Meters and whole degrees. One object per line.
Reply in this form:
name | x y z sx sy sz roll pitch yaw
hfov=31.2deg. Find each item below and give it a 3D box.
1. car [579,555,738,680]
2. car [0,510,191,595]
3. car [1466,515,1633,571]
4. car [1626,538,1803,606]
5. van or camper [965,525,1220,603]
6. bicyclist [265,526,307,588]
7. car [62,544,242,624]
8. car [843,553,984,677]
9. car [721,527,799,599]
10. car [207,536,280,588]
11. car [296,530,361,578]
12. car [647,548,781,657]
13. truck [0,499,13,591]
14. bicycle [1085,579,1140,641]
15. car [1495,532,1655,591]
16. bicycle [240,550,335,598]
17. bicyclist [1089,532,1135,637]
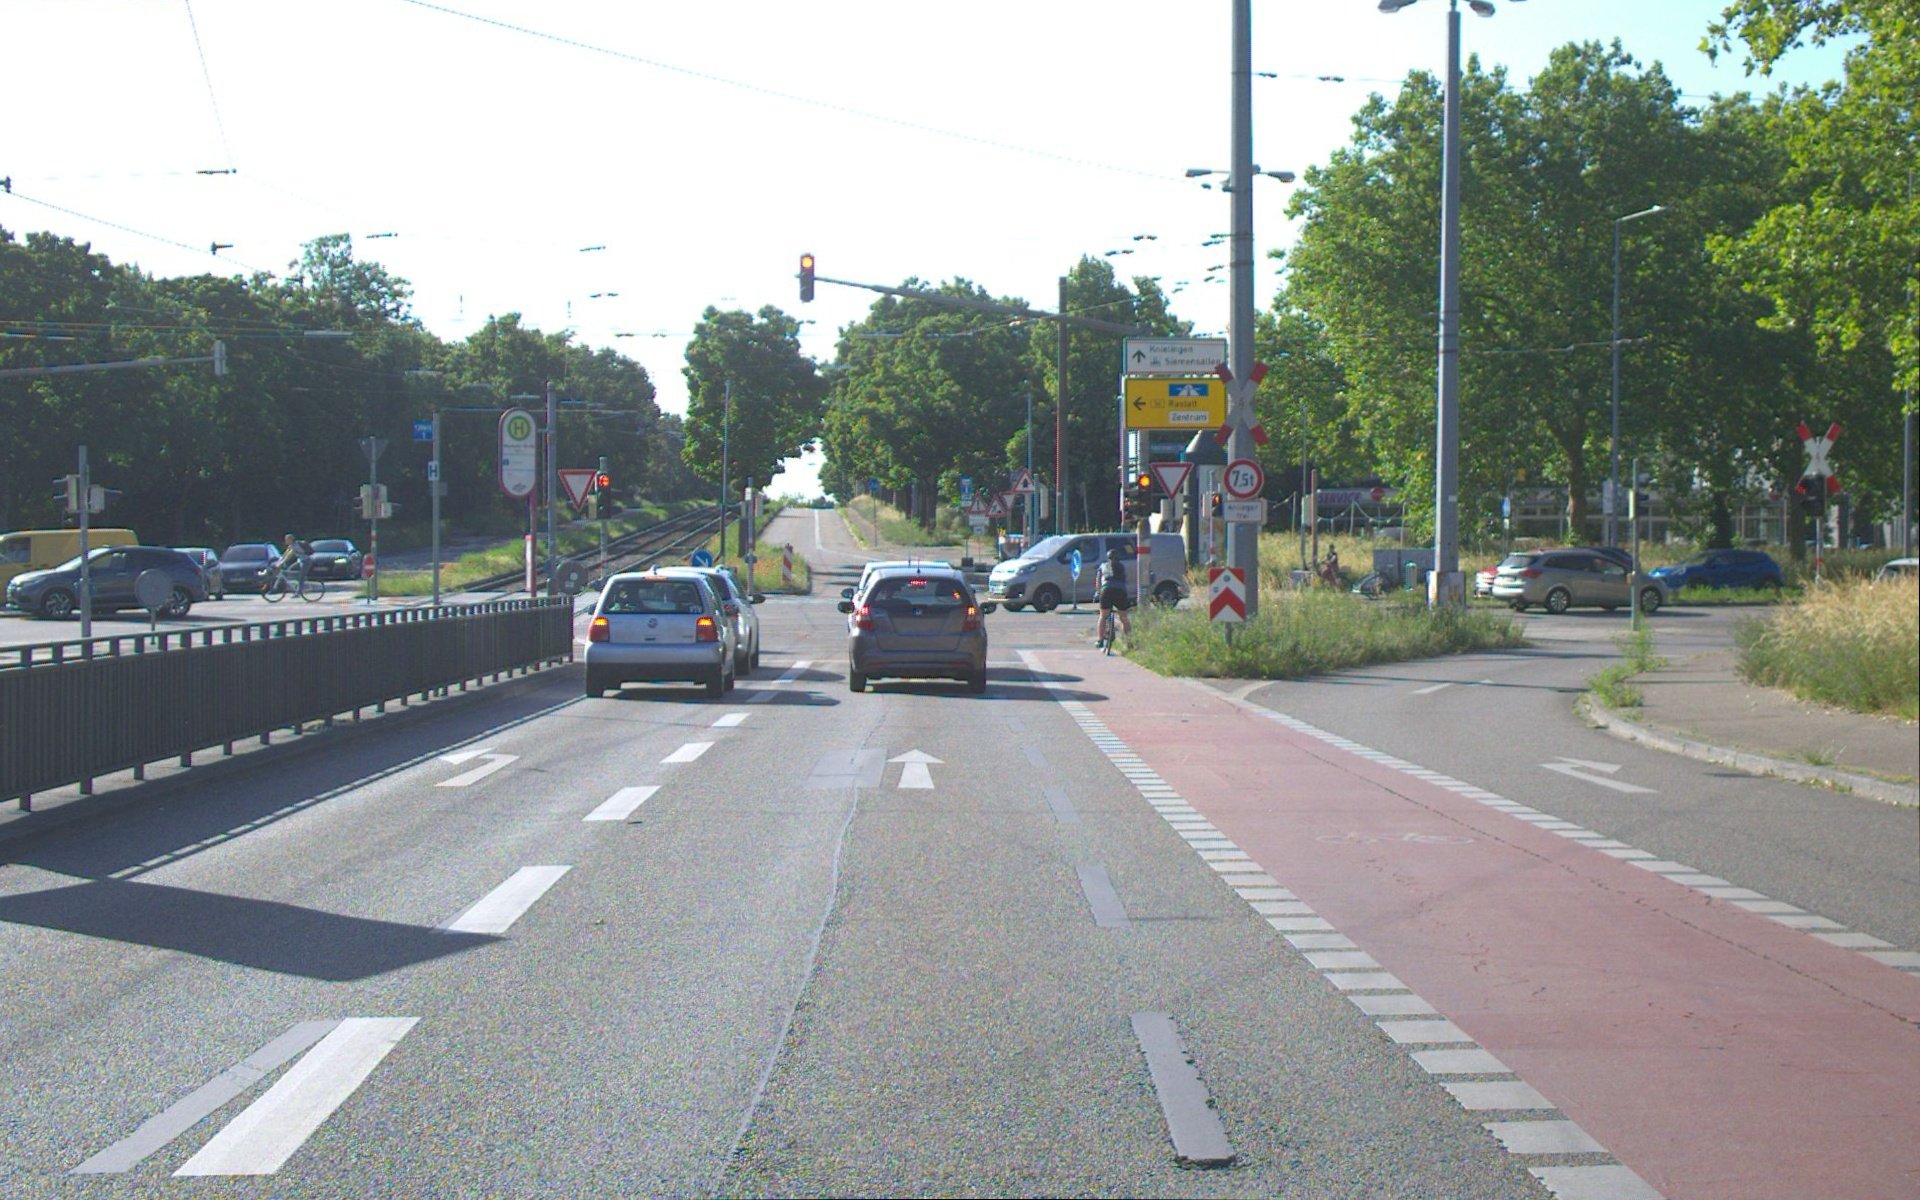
car | -3.536 0.183 40.784 1.619 1.413 3.351 -1 0 -1
car | -20.803 -1.108 80.308 5.154 1.873 2.000 1 0 -27
car | 15.213 -1.479 88.713 4.002 1.398 1.610 -1 1 -23
car | 21.989 -0.810 100.234 4.686 1.873 2.001 1 0 -23
van or camper | 3.221 -0.894 83.294 5.967 1.822 2.000 -1 2 -27
bicyclist | -17.970 -1.146 91.666 1.006 1.642 0.817 0 1 -18
car | -18.152 -0.369 77.224 3.608 1.703 1.752 1 0 -26
car | -0.621 0.155 42.874 1.668 1.457 3.586 0 1 -2
car | -5.855 -1.088 101.155 1.993 2.007 4.491 1 0 0
car | -22.037 -1.179 105.803 1.832 1.543 4.285 0 1 -7
car | -22.109 -1.633 120.486 1.993 1.599 4.756 1 1 -8
car | -3.423 0.014 48.450 1.619 1.452 4.085 1 0 -1
truck | -28.582 -1.488 93.794 1.995 2.556 6.818 0 1 17
bicycle | 2.502 0.149 56.822 0.722 0.985 2.876 1 0 -1
car | 16.450 -1.036 91.978 3.986 1.525 1.606 -1 1 -23
bicycle | -17.927 -0.700 91.654 2.395 1.258 0.817 0 1 -18
bicyclist | 2.513 -0.255 56.738 0.666 1.710 0.948 1 0 -1
